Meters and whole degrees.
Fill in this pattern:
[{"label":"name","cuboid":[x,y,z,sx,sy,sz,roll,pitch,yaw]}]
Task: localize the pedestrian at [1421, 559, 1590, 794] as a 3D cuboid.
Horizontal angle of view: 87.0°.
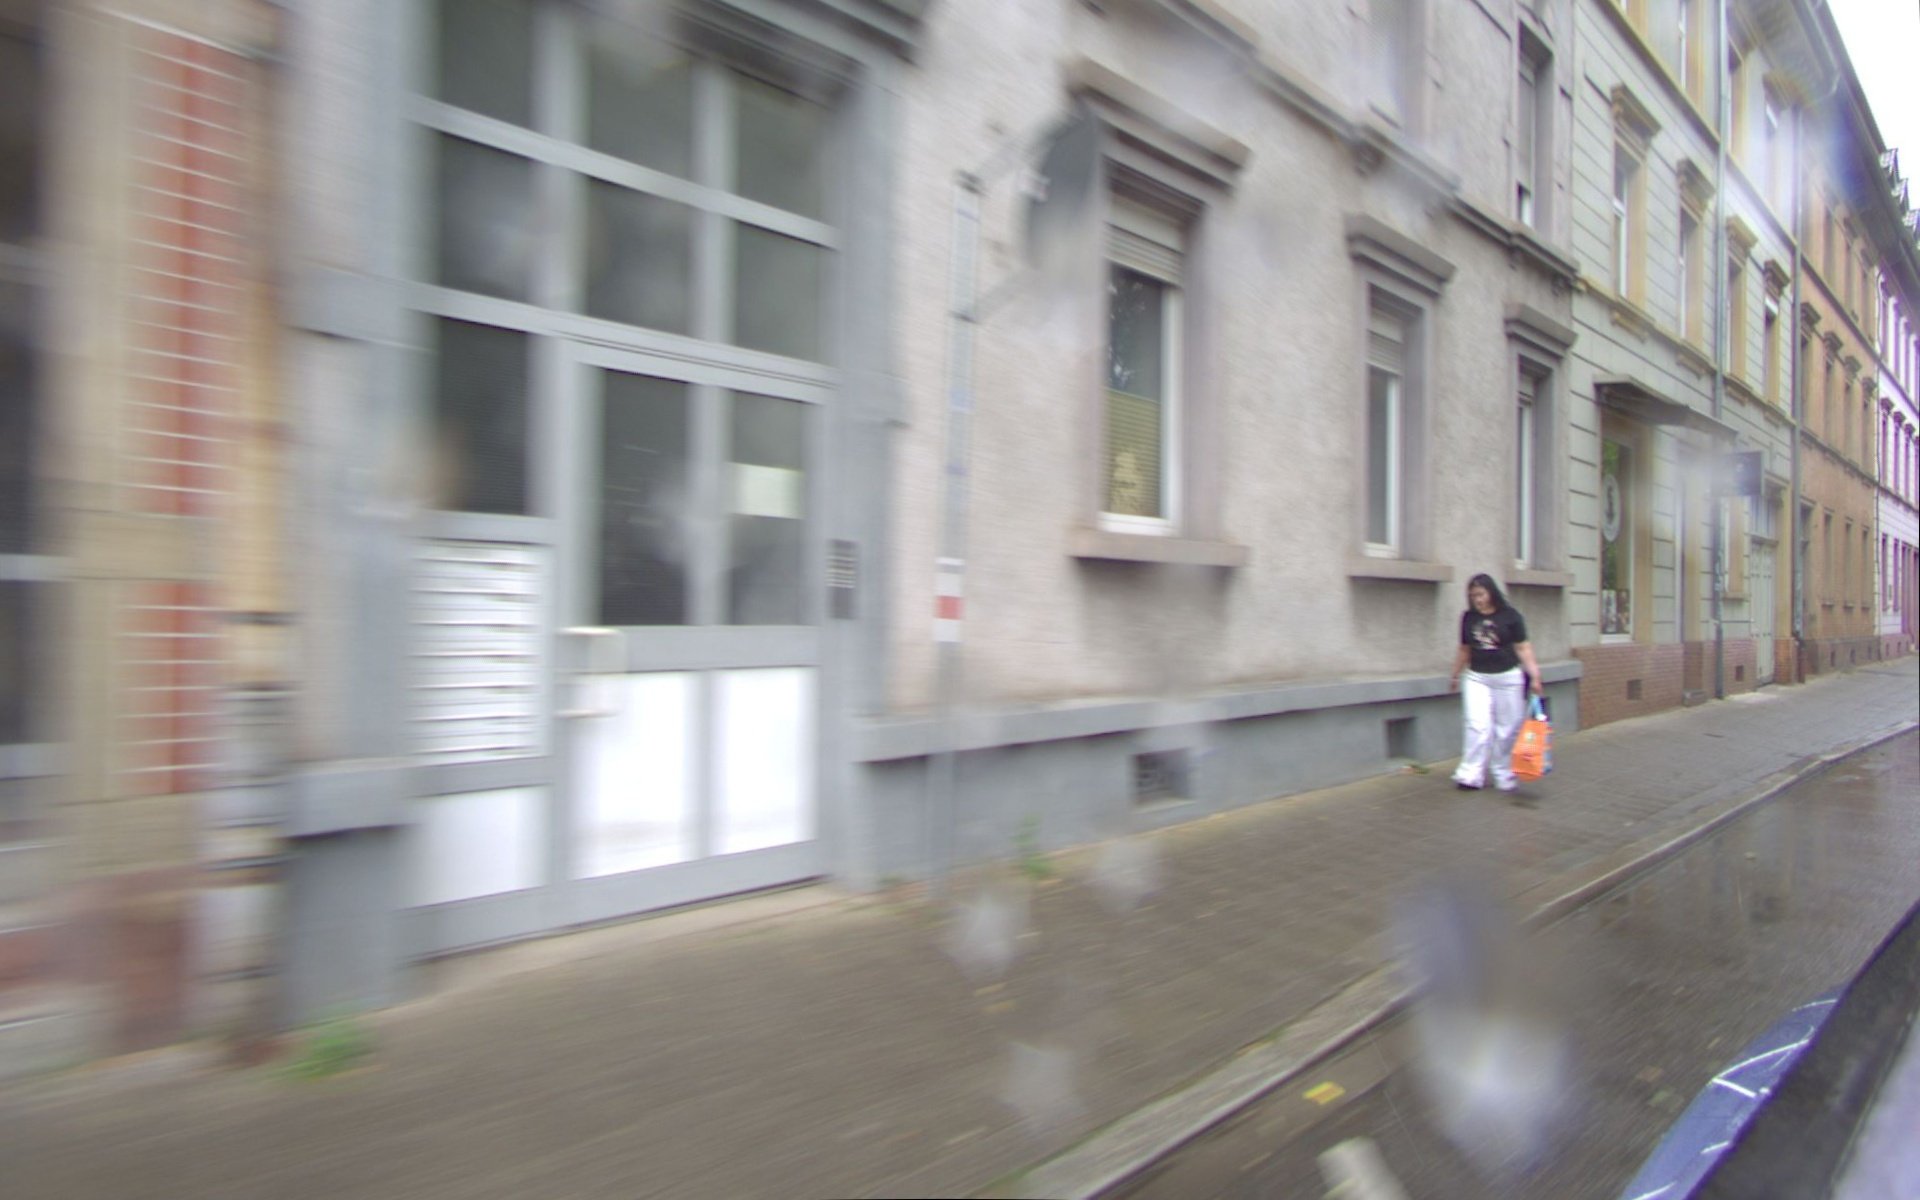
[{"label":"pedestrian","cuboid":[4.052,0.526,7.541,0.566,1.592,0.849,1,4,-41]}]
